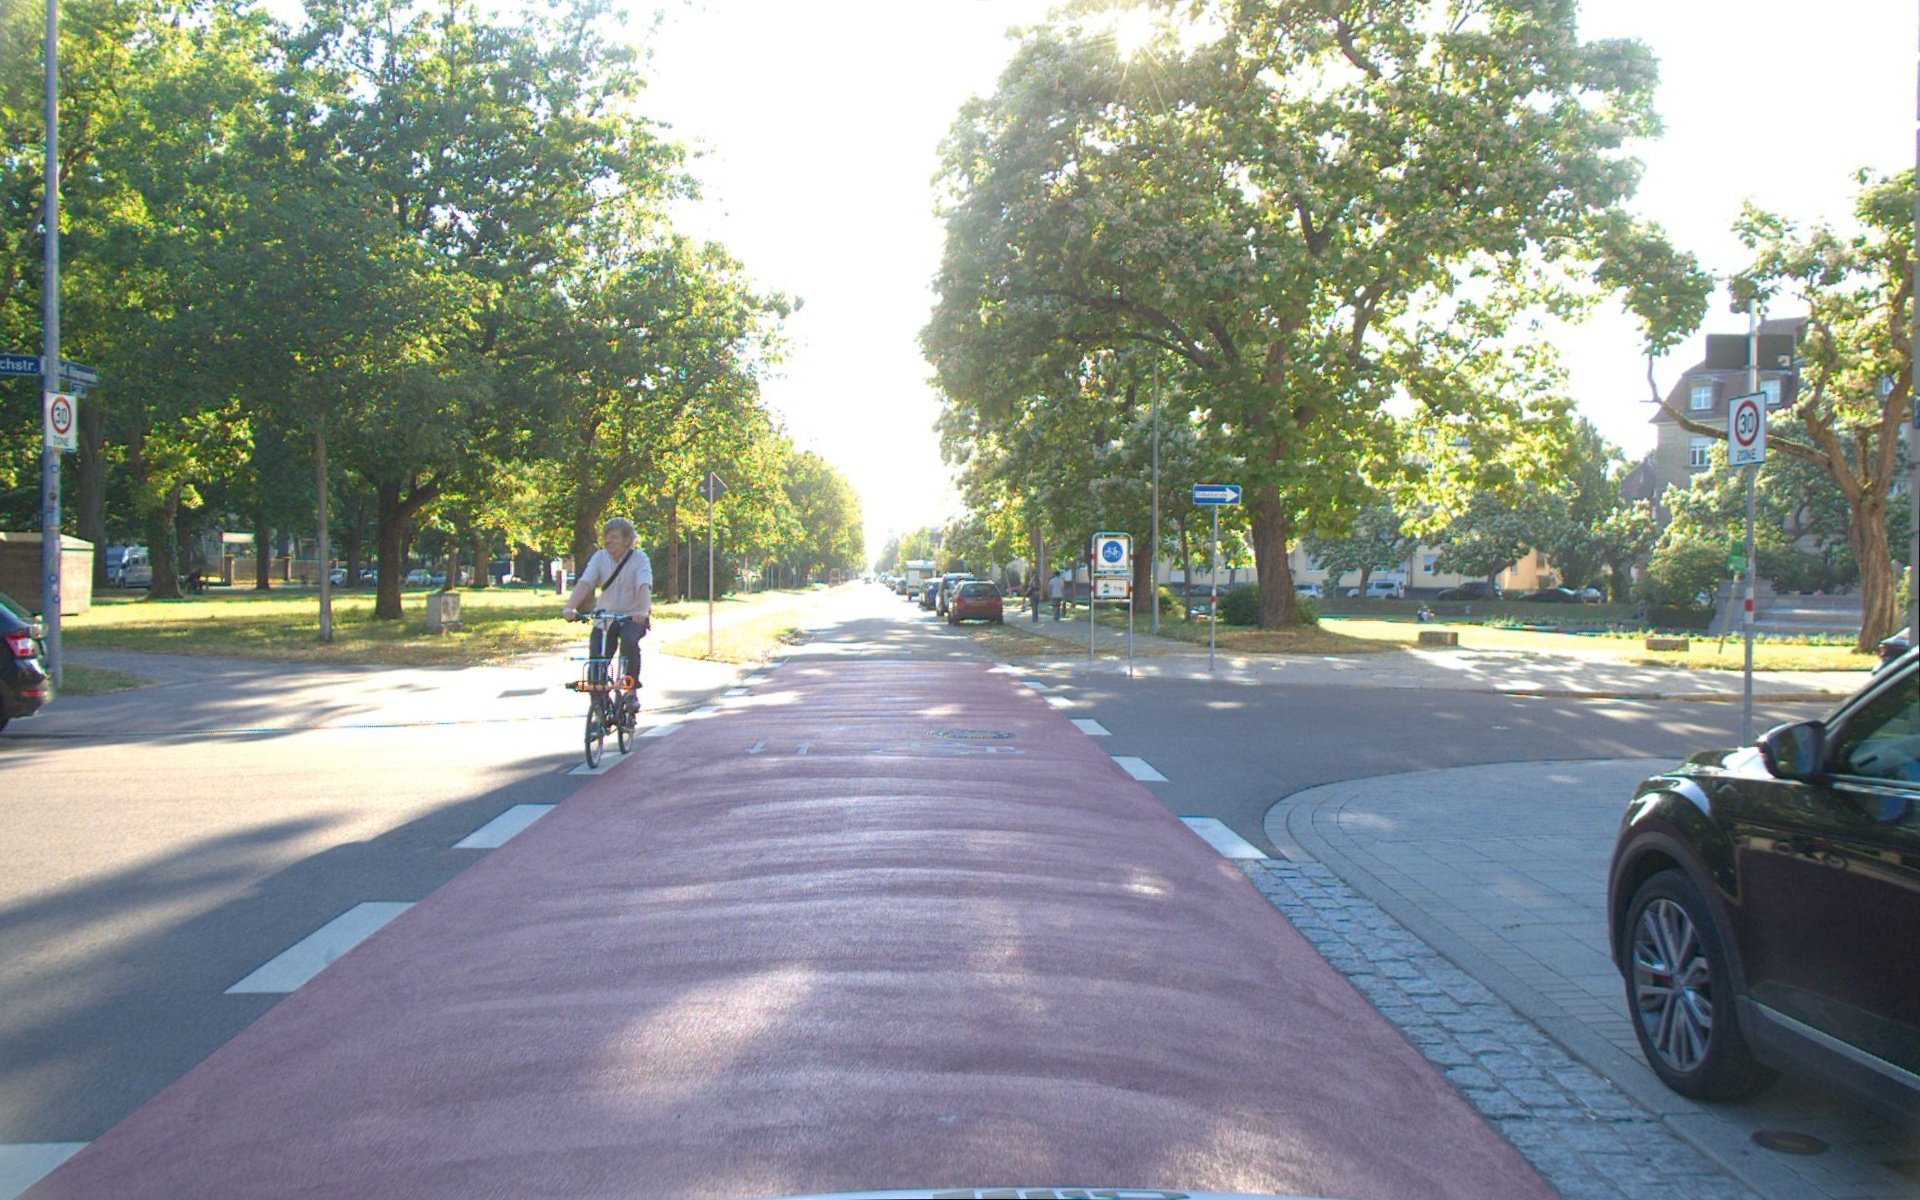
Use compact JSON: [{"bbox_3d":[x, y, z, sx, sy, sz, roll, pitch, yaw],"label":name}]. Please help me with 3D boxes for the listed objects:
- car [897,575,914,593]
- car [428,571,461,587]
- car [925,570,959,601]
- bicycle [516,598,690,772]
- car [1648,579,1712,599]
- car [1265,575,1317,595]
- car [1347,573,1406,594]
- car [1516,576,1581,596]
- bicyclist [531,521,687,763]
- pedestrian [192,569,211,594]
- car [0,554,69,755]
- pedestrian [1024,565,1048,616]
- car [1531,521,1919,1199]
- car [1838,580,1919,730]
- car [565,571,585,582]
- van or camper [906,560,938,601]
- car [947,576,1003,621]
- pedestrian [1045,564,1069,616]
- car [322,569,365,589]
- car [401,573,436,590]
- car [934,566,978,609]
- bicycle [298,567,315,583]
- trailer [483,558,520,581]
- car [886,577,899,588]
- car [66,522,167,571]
[{"bbox_3d":[-5.494,-1.606,165.300,1.594,1.698,4.246,0,0,-3],"label":"car"},{"bbox_3d":[-49.308,-1.992,158.208,1.953,1.534,4.113,0,0,-2],"label":"car"},{"bbox_3d":[-0.958,-0.741,86.634,1.697,1.578,4.274,0,0,-2],"label":"car"},{"bbox_3d":[-2.622,0.582,12.408,0.722,1.155,2.105,1,1,3],"label":"bicycle"},{"bbox_3d":[53.016,-0.837,121.856,1.858,1.478,3.953,0,1,-34],"label":"car"},{"bbox_3d":[27.075,-1.250,135.157,3.907,1.579,1.609,0,0,25],"label":"car"},{"bbox_3d":[34.728,-1.376,137.789,4.430,1.776,1.876,0,0,32],"label":"car"},{"bbox_3d":[43.804,-1.037,123.166,1.864,1.478,4.303,0,1,-41],"label":"car"},{"bbox_3d":[-2.616,0.296,12.413,0.918,1.732,0.906,1,1,3],"label":"bicyclist"},{"bbox_3d":[-30.647,-0.761,66.820,0.538,1.004,0.608,0,0,-11],"label":"pedestrian"},{"bbox_3d":[-9.423,0.425,13.276,3.941,1.601,1.873,1,-1,-28],"label":"car"},{"bbox_3d":[2.630,-0.331,57.447,0.738,1.766,0.731,1,1,-3],"label":"pedestrian"},{"bbox_3d":[2.993,0.629,3.777,1.669,1.654,4.347,-2,2,-3],"label":"car"},{"bbox_3d":[11.333,0.527,16.414,4.356,1.443,1.932,0,0,-9],"label":"car"},{"bbox_3d":[-52.760,-3.234,226.805,1.953,1.534,4.113,0,0,-2],"label":"car"},{"bbox_3d":[-2.890,-1.441,124.090,2.190,2.955,5.668,0,0,-4],"label":"van or camper"},{"bbox_3d":[0.480,-0.065,57.348,1.645,1.512,4.806,0,0,-3],"label":"car"},{"bbox_3d":[3.360,-0.356,57.467,0.711,1.766,0.731,1,1,-3],"label":"pedestrian"},{"bbox_3d":[-47.386,-1.588,127.188,1.953,1.534,3.998,0,0,-2],"label":"car"},{"bbox_3d":[-48.747,-1.670,148.884,1.953,1.534,4.113,0,0,-2],"label":"car"},{"bbox_3d":[-0.194,-0.552,71.241,1.645,1.770,4.511,0,0,-3],"label":"car"},{"bbox_3d":[-49.505,-1.882,125.306,0.644,1.196,2.331,0,0,-6],"label":"bicycle"},{"bbox_3d":[-50.651,-3.323,182.766,2.410,2.532,7.047,0,0,-2],"label":"trailer"},{"bbox_3d":[-8.968,-2.280,218.472,1.594,1.434,4.246,0,0,-3],"label":"car"},{"bbox_3d":[-45.921,-2.878,90.211,2.667,2.506,6.313,0,0,-4],"label":"car"}]
